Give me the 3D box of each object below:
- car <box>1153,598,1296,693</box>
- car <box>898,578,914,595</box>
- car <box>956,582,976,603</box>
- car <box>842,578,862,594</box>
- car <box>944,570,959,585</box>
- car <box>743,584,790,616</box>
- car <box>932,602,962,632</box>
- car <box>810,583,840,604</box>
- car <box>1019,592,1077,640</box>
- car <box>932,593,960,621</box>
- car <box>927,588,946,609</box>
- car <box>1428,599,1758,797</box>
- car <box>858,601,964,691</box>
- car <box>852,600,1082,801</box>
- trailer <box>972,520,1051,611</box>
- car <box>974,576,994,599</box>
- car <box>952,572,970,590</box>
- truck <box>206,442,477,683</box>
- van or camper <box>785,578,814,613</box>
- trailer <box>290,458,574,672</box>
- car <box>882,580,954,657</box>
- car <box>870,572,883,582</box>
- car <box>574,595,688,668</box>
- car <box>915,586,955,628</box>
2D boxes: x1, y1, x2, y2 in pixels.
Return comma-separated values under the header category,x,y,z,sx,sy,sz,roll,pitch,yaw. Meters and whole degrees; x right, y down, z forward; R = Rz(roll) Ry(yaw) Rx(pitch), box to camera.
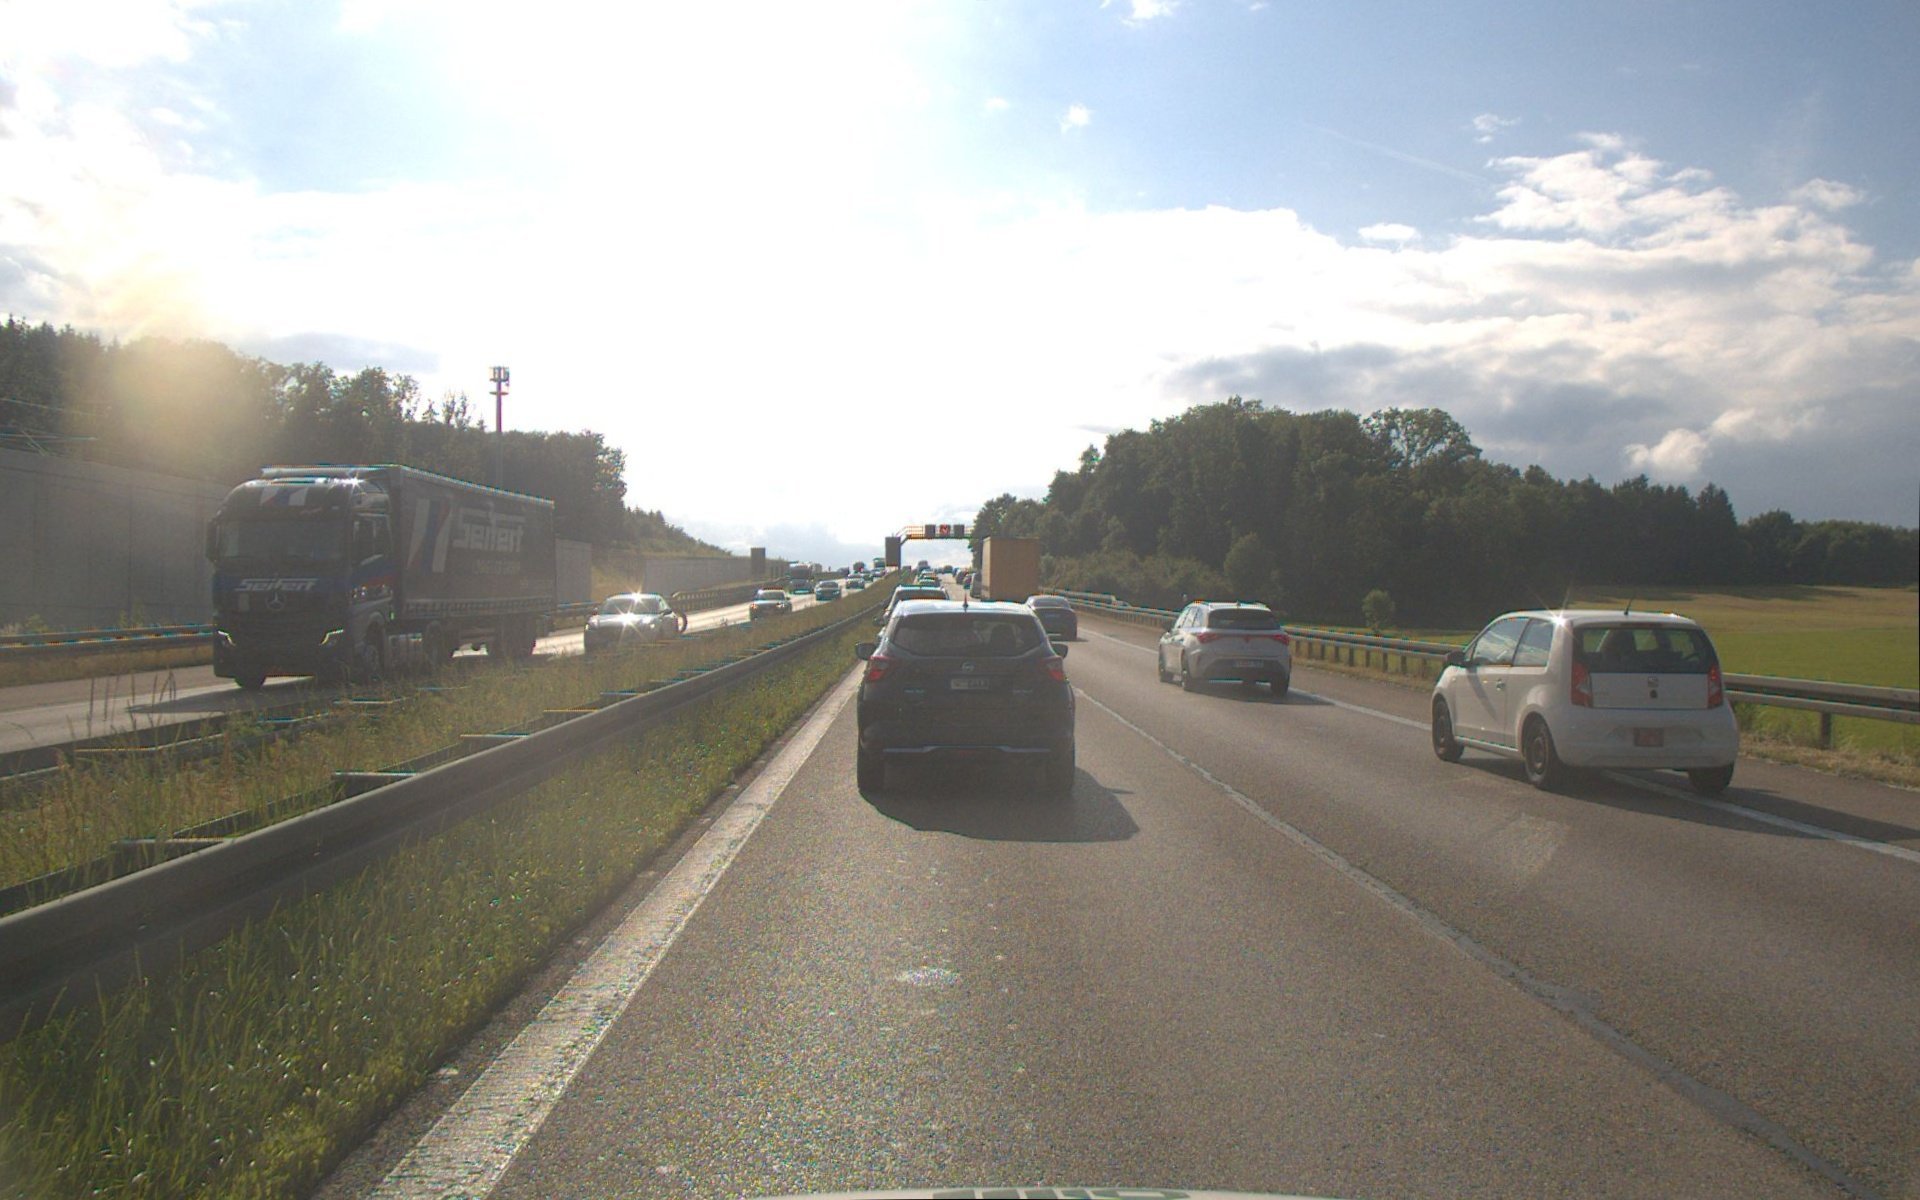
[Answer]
category,x,y,z,sx,sy,sz,roll,pitch,yaw
car,4.400,0.730,28.020,1.588,1.471,4.144,1,-1,-2
car,-6.797,-1.700,206.870,1.953,2.049,3.998,1,0,-2
car,0.591,-0.789,169.801,1.953,2.049,3.998,1,0,-2
car,-11.263,-1.457,173.120,1.953,1.621,4.447,1,0,-2
car,-1.255,-3.182,232.496,1.953,2.049,3.998,1,0,-2
car,-9.327,0.001,80.043,1.863,1.490,4.182,1,0,-1
car,-0.926,1.180,117.019,1.953,2.049,3.998,1,0,-2
car,-10.085,-0.462,123.568,1.953,1.458,4.447,1,0,-2
car,2.899,0.530,55.122,1.711,1.501,4.146,1,-1,0
car,-1.046,0.533,123.638,1.953,2.049,3.998,1,0,-2
car,-2.097,-0.108,148.342,1.633,1.785,3.327,1,-1,0
car,5.473,0.771,14.727,1.518,1.521,3.376,1,0,-3
car,-0.766,0.735,27.666,1.639,1.391,3.596,1,-1,0
car,0.065,0.754,13.871,1.675,1.451,3.378,1,-1,0
trailer,2.652,-1.680,89.926,3.477,4.535,12.717,1,0,-2
car,1.993,-1.034,136.917,1.633,1.785,3.327,1,-1,0
car,0.089,-2.203,191.069,1.953,2.049,3.998,1,0,-2
truck,-11.706,-0.627,32.081,2.698,4.162,6.951,0,-1,-1
van or camper,-14.929,-0.369,154.279,2.180,3.133,6.510,1,0,-2
trailer,-11.866,-0.634,38.913,2.703,4.187,12.901,0,0,-1
car,-0.995,0.449,40.449,1.639,1.756,3.596,1,-1,0
car,-12.652,-3.527,251.283,1.953,1.458,4.447,1,0,-2
car,-8.026,0.742,40.815,1.850,1.660,5.109,1,0,-1
car,-1.315,0.371,84.890,1.953,2.049,3.998,1,0,-2
